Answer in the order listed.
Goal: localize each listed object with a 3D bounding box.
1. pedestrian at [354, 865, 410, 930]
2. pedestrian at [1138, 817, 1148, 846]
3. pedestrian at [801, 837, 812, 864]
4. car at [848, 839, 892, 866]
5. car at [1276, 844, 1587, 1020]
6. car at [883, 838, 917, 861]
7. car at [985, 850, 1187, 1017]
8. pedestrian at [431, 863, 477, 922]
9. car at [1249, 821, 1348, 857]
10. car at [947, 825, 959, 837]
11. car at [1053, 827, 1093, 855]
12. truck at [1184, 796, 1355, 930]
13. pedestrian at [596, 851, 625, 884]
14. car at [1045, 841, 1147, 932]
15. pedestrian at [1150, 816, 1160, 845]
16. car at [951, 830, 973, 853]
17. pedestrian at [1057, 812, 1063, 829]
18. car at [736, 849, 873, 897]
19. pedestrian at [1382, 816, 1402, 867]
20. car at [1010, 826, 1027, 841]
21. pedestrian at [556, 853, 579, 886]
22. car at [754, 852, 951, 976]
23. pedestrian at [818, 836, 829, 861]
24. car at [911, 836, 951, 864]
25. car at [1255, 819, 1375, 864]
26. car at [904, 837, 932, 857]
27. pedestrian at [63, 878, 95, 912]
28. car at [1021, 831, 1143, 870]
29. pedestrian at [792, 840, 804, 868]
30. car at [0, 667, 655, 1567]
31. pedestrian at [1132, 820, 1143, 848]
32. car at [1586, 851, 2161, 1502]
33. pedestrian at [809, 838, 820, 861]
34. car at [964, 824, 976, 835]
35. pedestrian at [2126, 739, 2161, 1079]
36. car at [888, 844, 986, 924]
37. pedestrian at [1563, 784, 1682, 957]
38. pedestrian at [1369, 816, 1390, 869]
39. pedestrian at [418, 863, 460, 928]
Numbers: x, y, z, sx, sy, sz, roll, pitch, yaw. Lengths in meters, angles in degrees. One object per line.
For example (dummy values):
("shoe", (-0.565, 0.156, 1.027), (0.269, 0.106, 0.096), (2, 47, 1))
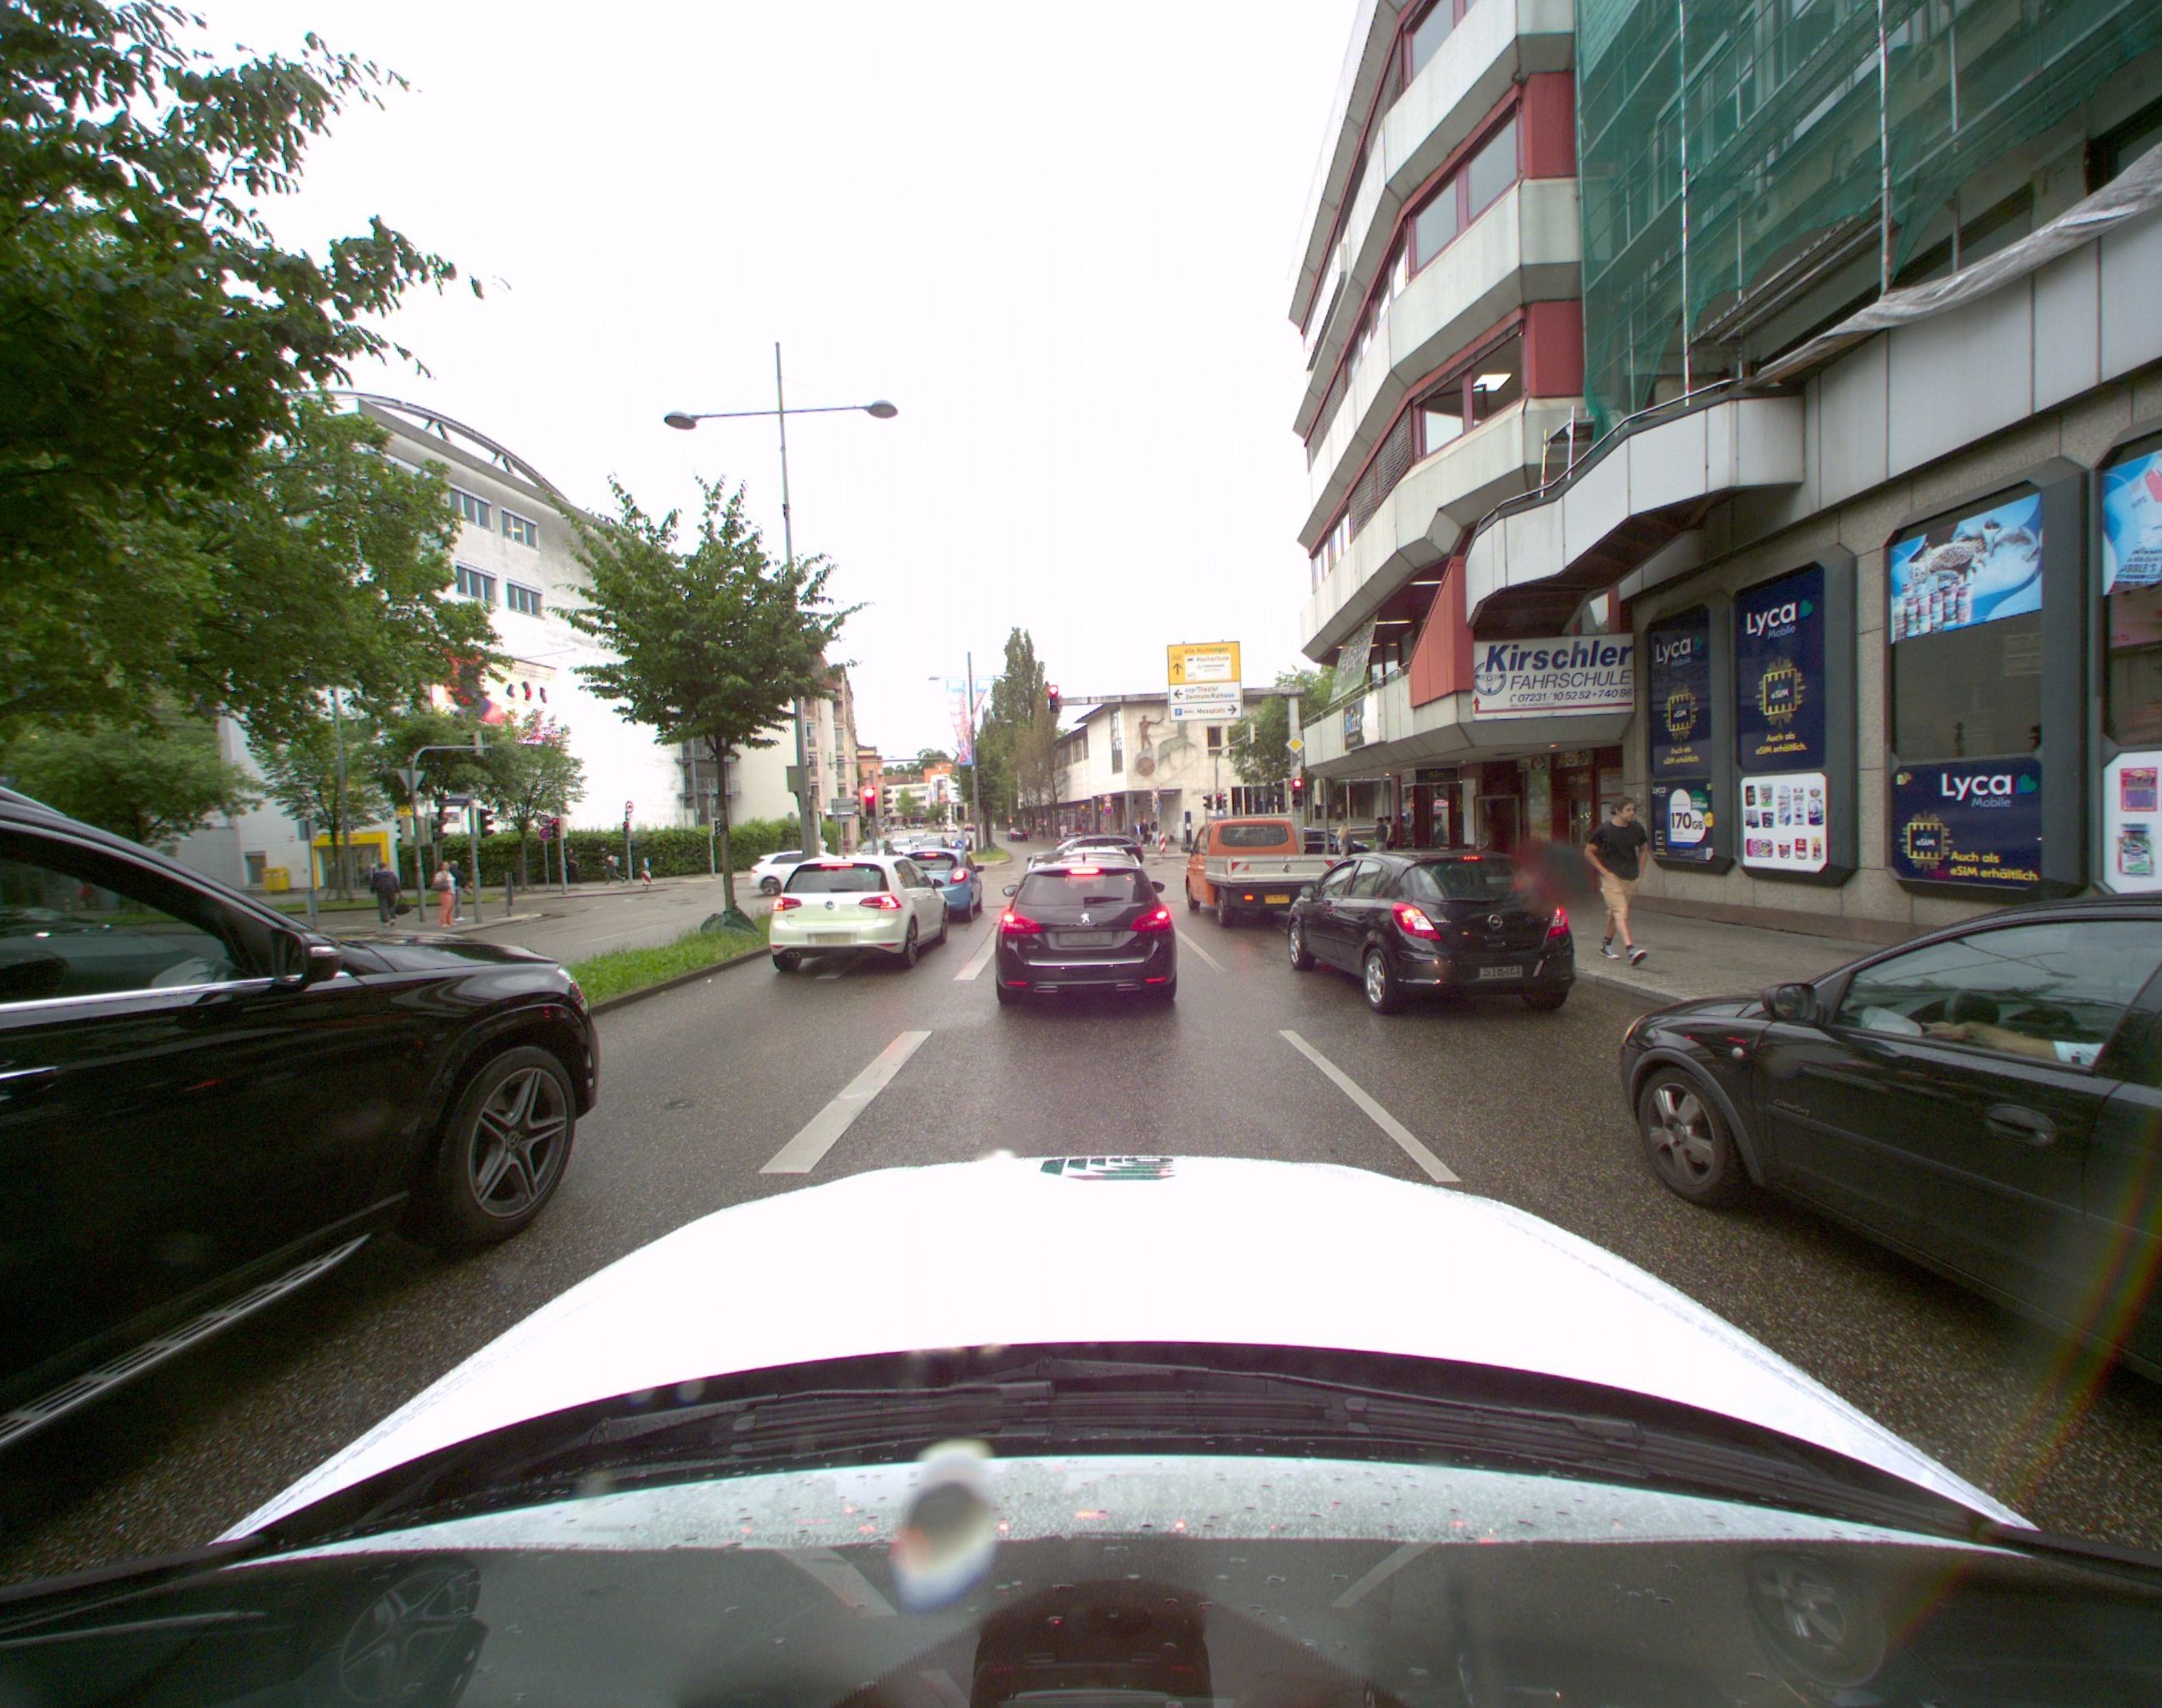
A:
("pedestrian", (-19.585, 1.195, 22.840), (0.921, 1.784, 0.708), (-1, -1, -4))
("pedestrian", (4.176, -1.508, 54.711), (0.633, 1.897, 0.735), (-1, -1, 8))
("pedestrian", (-17.598, -0.209, 52.186), (0.538, 1.748, 0.564), (-1, -1, -3))
("car", (-11.999, -0.109, 46.468), (1.569, 1.486, 3.608), (-1, 1, -1))
("car", (3.384, 0.626, 8.688), (1.611, 1.429, 3.840), (-1, 1, -1))
("car", (-12.089, -0.339, 54.550), (1.630, 1.486, 3.604), (-1, 1, -4))
("car", (0.041, 0.696, 9.146), (1.772, 1.429, 3.841), (-1, 1, 0))
("pedestrian", (-18.364, 1.114, 23.862), (0.750, 1.661, 0.628), (-2, 2, 1))
("car", (9.522, -0.657, 35.739), (3.896, 1.486, 1.617), (0, -1, -11))
("car", (-23.095, -4.165, 146.855), (1.709, 1.882, 3.979), (0, -1, -15))
("car", (-0.460, -0.850, 50.687), (1.777, 1.454, 4.517), (-4, 3, 8))
("truck", (3.427, 0.092, 15.927), (2.170, 2.172, 5.020), (-1, 1, 0))
("pedestrian", (-23.183, 0.675, 40.143), (1.059, 1.578, 0.683), (-1, -1, -3))
("car", (0.307, 0.510, 15.439), (1.690, 1.486, 3.795), (-1, 1, 2))
("pedestrian", (4.931, -1.566, 54.372), (0.633, 1.897, 0.735), (-1, -1, 8))
("car", (-9.620, -0.987, 65.845), (1.743, 1.640, 3.988), (0, -1, -9))
("pedestrian", (-2.323, -3.679, 89.480), (0.469, 1.748, 0.537), (0, -1, -19))
("car", (-9.453, 0.613, 28.205), (4.296, 1.486, 1.631), (-1, 1, -13))
("pedestrian", (10.147, -0.398, 26.561), (0.395, 1.640, 0.504), (-3, -1, 2))
("car", (-6.837, -2.218, 89.093), (1.723, 1.490, 4.721), (-1, -1, -7))
("pedestrian", (-25.954, 0.799, 41.165), (0.730, 1.643, 0.638), (-1, -1, -6))
("car", (-3.043, 0.710, 11.677), (1.772, 1.429, 3.840), (-1, 1, -1))
("pedestrian", (-18.355, -0.390, 58.113), (0.595, 1.728, 0.655), (0, -1, -7))
("car", (-8.839, -0.203, 48.294), (1.739, 1.579, 3.997), (-1, -1, -1))
("car", (9.236, -0.505, 32.321), (4.226, 1.565, 1.699), (-3, 1, -9))
("car", (-12.320, -0.565, 61.744), (1.630, 1.486, 3.604), (-1, 1, -4))
("pedestrian", (-48.591, 1.982, 39.502), (0.633, 1.643, 0.735), (-1, -1, 8))
("car", (0.031, -0.179, 33.147), (4.728, 1.486, 1.631), (-1, 1, -14))
("pedestrian", (-17.520, -0.003, 50.418), (0.538, 1.748, 0.745), (0, -1, -7))
("car", (-3.204, 0.555, 1.688), (1.905, 1.870, 5.073), (-1, -1, 1))
("pedestrian", (3.716, -1.297, 53.185), (0.633, 1.758, 0.735), (-1, -1, 8))
("car", (3.262, 0.735, 2.283), (1.600, 1.429, 3.626), (-1, 1, 3))
("pedestrian", (-18.839, -0.321, 57.596), (0.579, 1.599, 0.526), (-1, -1, -5))
("car", (-20.213, -4.463, 148.048), (1.709, 1.936, 3.979), (0, -1, -15))
("pedestrian", (6.507, 0.308, 4.436), (0.733, 1.935, 0.640), (-1, -1, 1))
("car", (-3.009, 0.557, 17.625), (1.629, 1.486, 3.606), (-1, 1, -3))
("pedestrian", (6.089, 0.186, 9.211), (0.736, 1.816, 0.776), (-6, -1, 13))
("pedestrian", (9.603, -0.371, 26.181), (0.424, 1.682, 0.450), (-3, -1, 0))
("pedestrian", (-17.001, 1.095, 21.584), (0.555, 1.661, 0.580), (-2, 2, 2))
